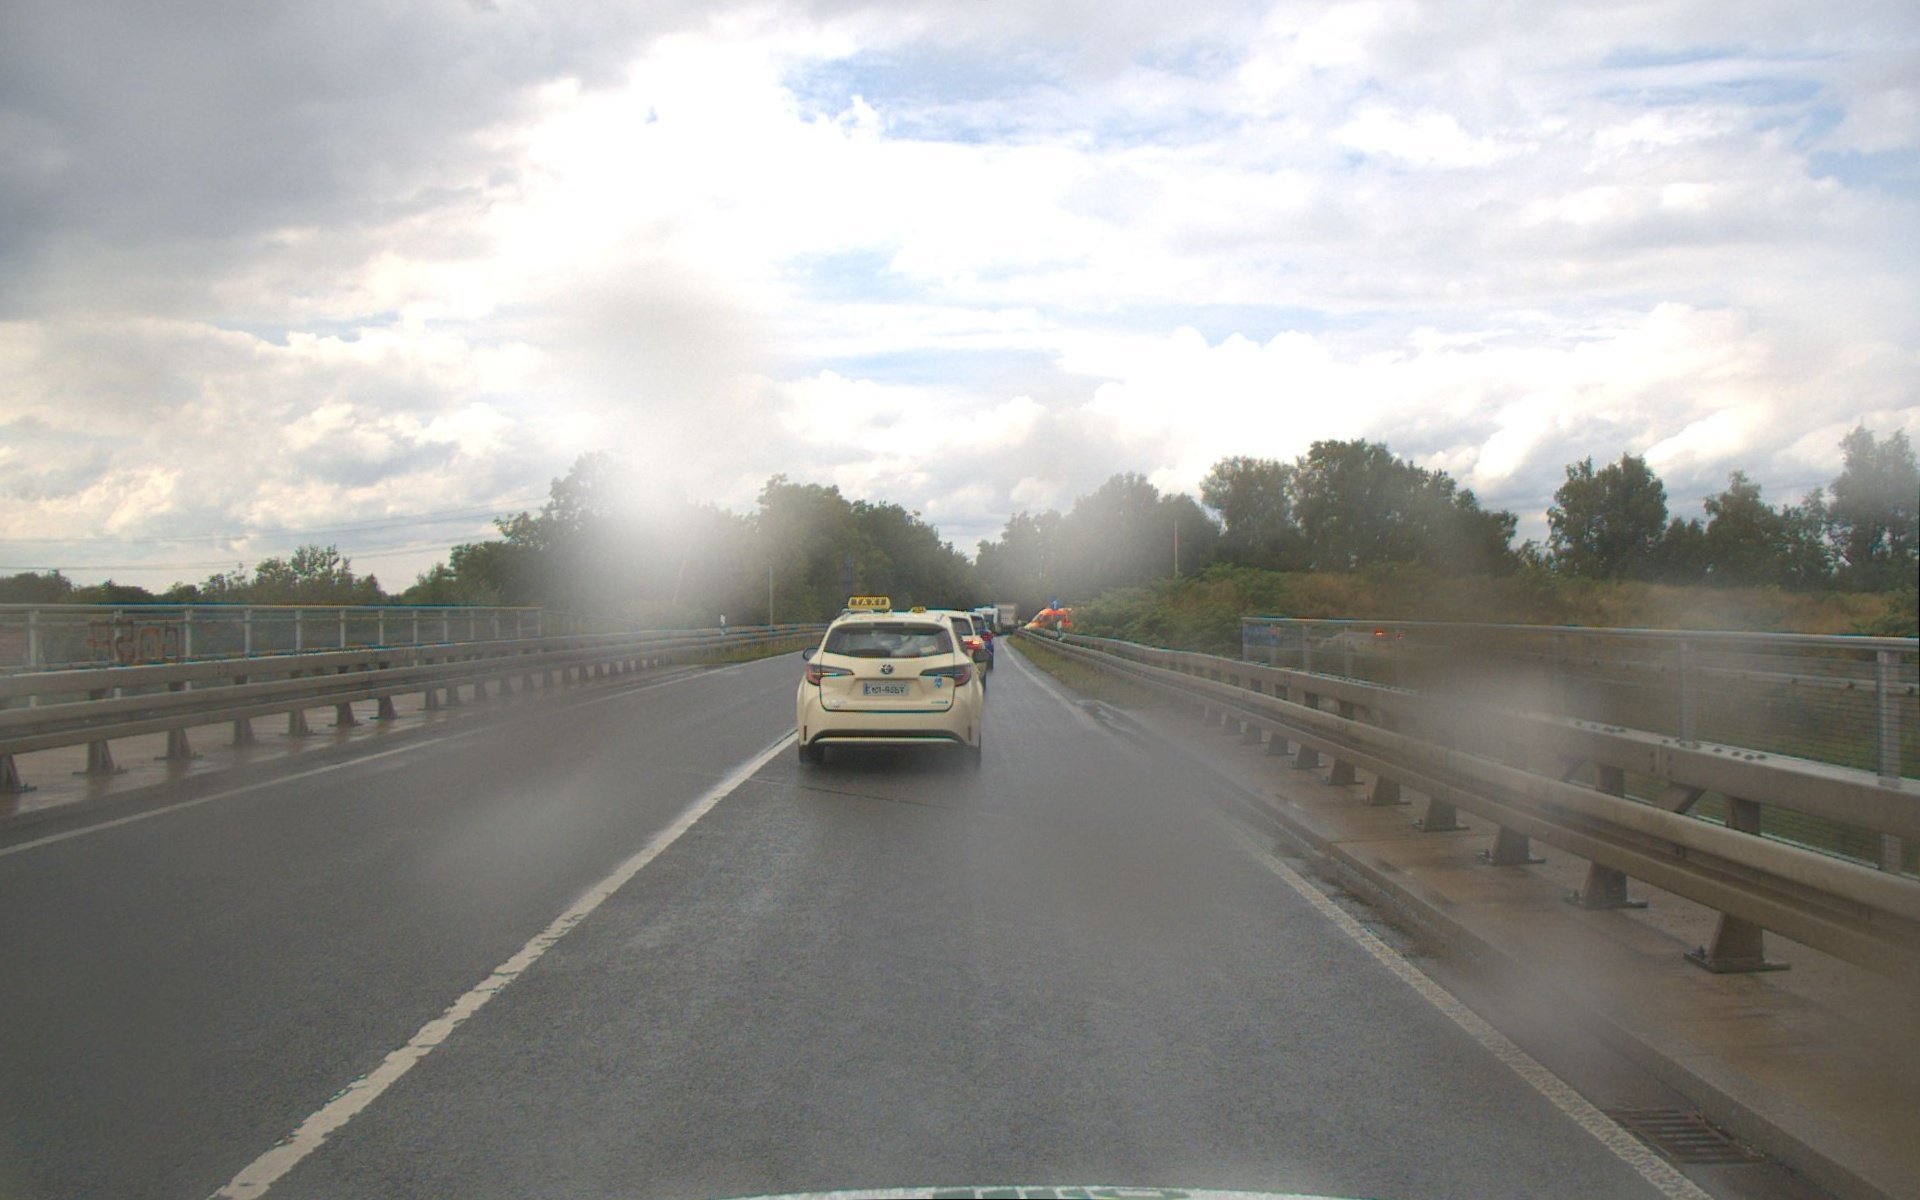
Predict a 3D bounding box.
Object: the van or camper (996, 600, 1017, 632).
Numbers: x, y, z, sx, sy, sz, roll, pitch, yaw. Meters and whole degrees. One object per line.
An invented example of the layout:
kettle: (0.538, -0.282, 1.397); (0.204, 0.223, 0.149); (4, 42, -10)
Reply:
van or camper: (5.318, 1.817, 190.151); (2.284, 3.625, 6.307); (1, 0, 1)

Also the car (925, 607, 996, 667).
car: (0.008, 0.979, 45.051); (1.816, 1.468, 4.170); (1, 0, 0)

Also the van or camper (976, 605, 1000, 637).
van or camper: (2.699, 2.010, 159.345); (2.284, 2.914, 6.307); (1, 0, 1)

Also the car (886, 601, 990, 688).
car: (-0.397, 0.790, 31.339); (1.816, 1.468, 4.170); (1, 0, 0)

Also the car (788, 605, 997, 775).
car: (-0.601, 0.801, 16.693); (1.816, 1.418, 4.170); (1, 0, 0)

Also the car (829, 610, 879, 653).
car: (-4.034, 1.212, 63.272); (1.679, 1.543, 3.858); (1, -1, -1)

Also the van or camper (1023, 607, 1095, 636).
van or camper: (8.143, 1.770, 136.184); (5.583, 2.281, 2.012); (1, 0, -15)
